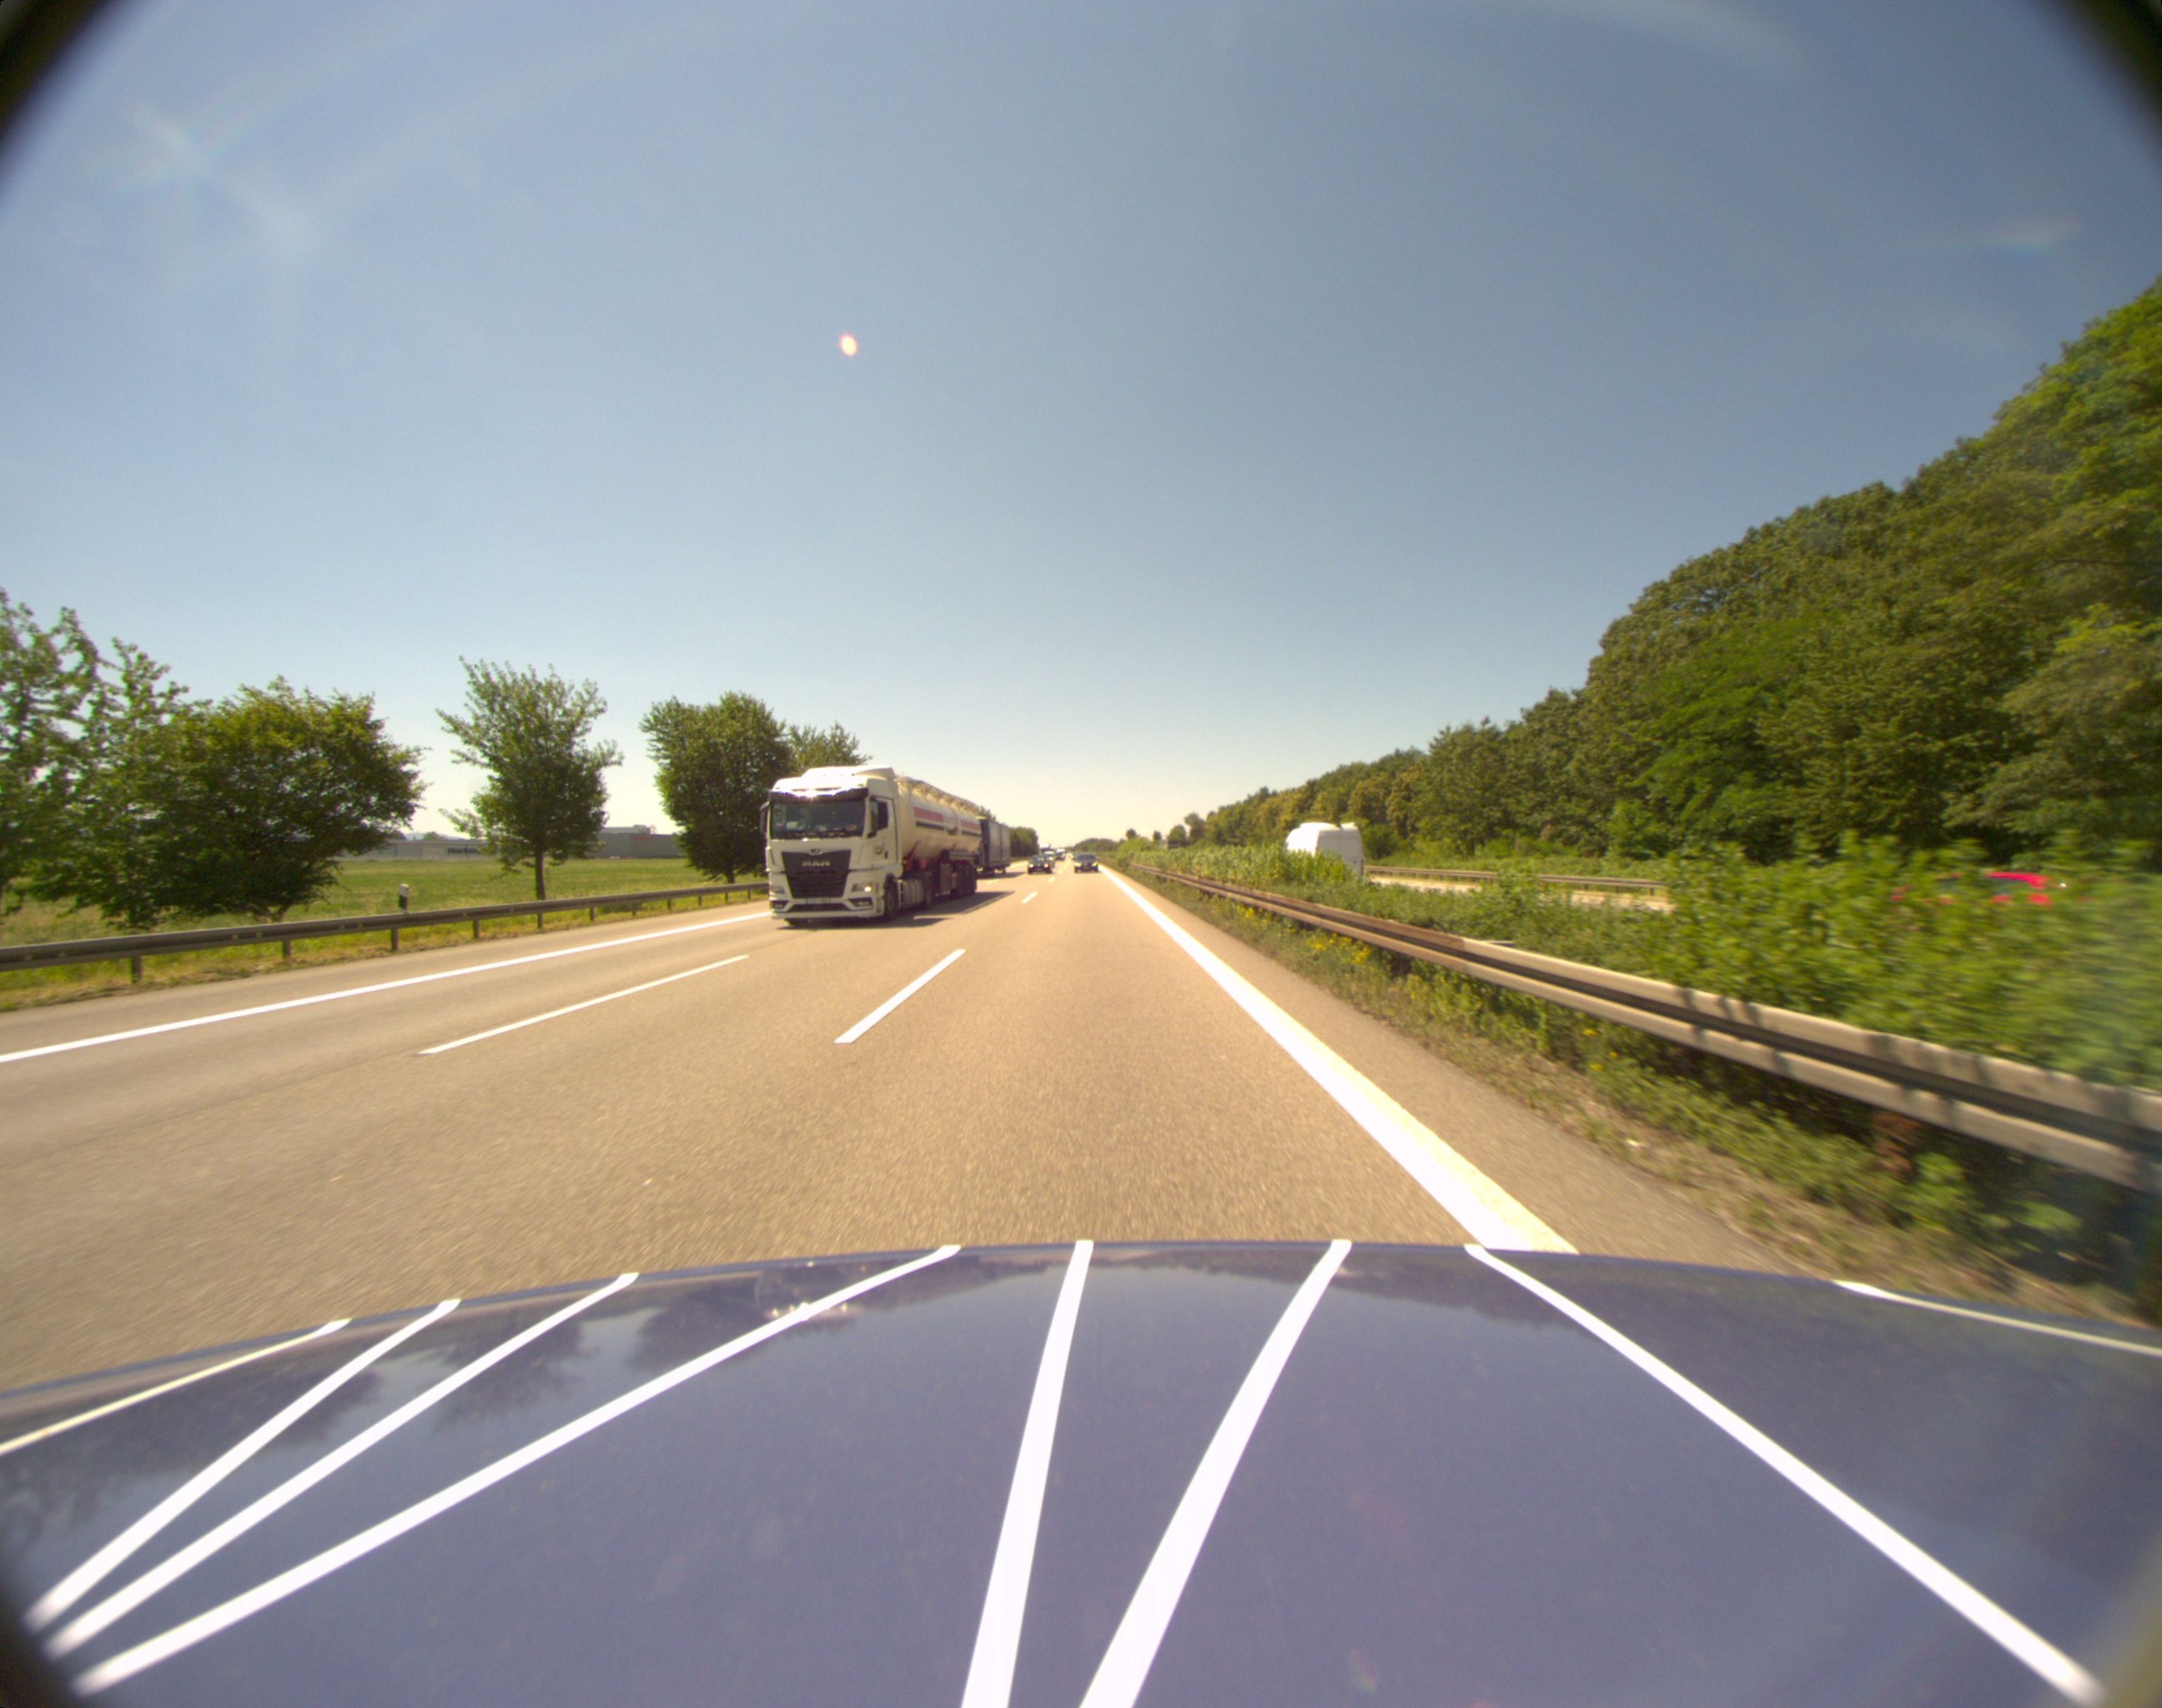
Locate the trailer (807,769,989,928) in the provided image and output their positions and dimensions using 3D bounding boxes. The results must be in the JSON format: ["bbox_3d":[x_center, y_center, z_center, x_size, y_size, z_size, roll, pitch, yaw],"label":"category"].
[{"bbox_3d":[-5.618,-0.187,26.378,2.797,4.180,12.354,-1,0,2],"label":"trailer"}]

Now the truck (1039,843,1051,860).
[{"bbox_3d":[-9.261,-0.729,195.395,2.797,4.180,10.804,-1,0,-1],"label":"truck"}]

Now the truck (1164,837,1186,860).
[{"bbox_3d":[17.799,-1.075,144.385,3.021,4.090,9.999,-1,0,0],"label":"truck"}]

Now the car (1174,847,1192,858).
[{"bbox_3d":[13.186,-0.161,98.763,1.799,1.330,3.999,-1,0,0],"label":"car"}]

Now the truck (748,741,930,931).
[{"bbox_3d":[-5.887,-0.399,19.415,2.797,4.180,5.000,-1,1,2],"label":"truck"}]

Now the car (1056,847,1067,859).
[{"bbox_3d":[-3.589,-0.186,140.019,1.998,2.002,3.999,-1,1,0],"label":"car"}]

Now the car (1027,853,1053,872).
[{"bbox_3d":[-3.116,0.638,58.686,1.841,1.409,4.496,-1,0,-1],"label":"car"}]

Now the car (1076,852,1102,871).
[{"bbox_3d":[0.559,0.535,58.953,1.887,1.341,4.466,-1,0,-1],"label":"car"}]

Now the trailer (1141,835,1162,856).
[{"bbox_3d":[14.047,-1.648,152.234,2.877,3.986,13.516,-1,0,0],"label":"trailer"}]

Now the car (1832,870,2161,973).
[{"bbox_3d":[16.943,1.084,13.885,1.937,1.395,4.567,-1,0,0],"label":"car"}]

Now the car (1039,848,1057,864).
[{"bbox_3d":[-3.532,0.218,82.008,1.887,1.634,3.999,-1,0,-1],"label":"car"}]

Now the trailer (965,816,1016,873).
[{"bbox_3d":[-7.168,-0.725,61.812,2.797,4.180,10.806,-1,0,0],"label":"trailer"}]

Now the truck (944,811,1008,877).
[{"bbox_3d":[-7.243,-0.655,54.051,2.797,4.180,10.806,-1,0,1],"label":"truck"}]

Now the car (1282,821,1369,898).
[{"bbox_3d":[9.600,0.191,30.251,1.998,2.809,4.596,-1,1,1],"label":"car"}]
